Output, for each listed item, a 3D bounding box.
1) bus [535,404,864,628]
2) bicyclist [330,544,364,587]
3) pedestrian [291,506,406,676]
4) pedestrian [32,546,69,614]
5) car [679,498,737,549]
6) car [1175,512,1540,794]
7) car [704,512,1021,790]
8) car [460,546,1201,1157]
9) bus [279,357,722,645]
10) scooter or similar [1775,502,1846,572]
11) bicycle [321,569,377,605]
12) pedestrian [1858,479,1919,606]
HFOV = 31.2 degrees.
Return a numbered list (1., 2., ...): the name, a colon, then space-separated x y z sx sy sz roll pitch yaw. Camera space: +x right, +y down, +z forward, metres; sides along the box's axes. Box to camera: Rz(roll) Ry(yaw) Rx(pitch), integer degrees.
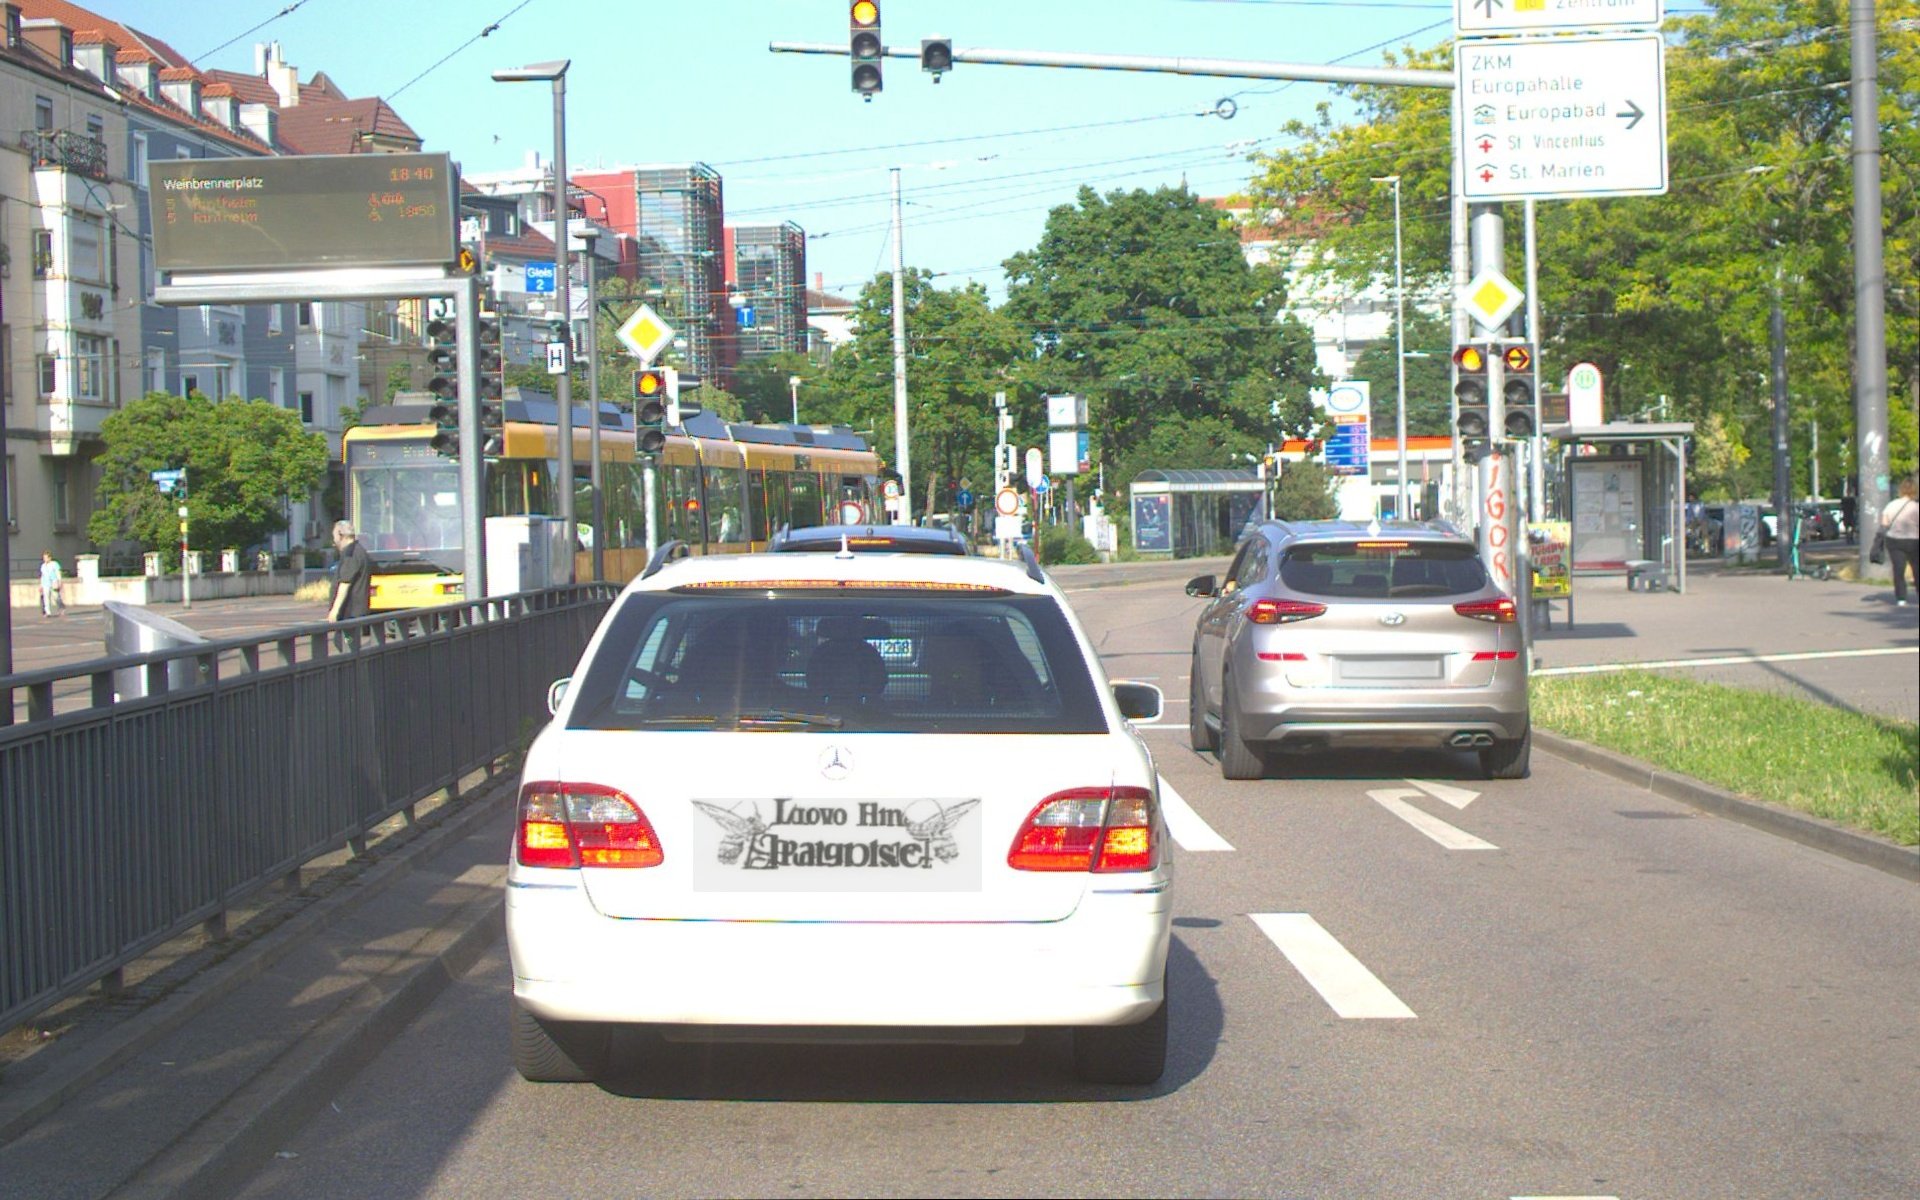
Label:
1. bus: -4.400 -1.409 61.846 3.110 3.593 12.586 1 1 9
2. bicyclist: -14.994 -0.842 84.067 0.513 1.041 0.679 -1 1 20
3. pedestrian: -6.022 -0.098 33.848 0.792 1.639 0.757 -2 1 -44
4. pedestrian: -20.800 -0.459 78.640 0.629 1.536 0.711 -1 1 -1
5. car: -10.292 -3.108 140.519 2.075 2.007 4.163 1 1 0
6. car: 2.502 0.280 22.449 1.885 1.645 3.648 -1 1 -1
7. car: -0.608 0.269 22.549 1.885 1.645 3.648 1 1 -1
8. car: -0.336 0.585 10.184 1.796 1.465 3.648 0 1 -1
9. bus: -6.233 -1.305 49.497 3.109 3.593 12.371 1 1 8
10. scooter or similar: 13.816 -1.020 55.874 0.419 1.113 1.330 -2 1 -20
11. bicycle: -14.957 -0.327 84.142 0.526 0.831 1.684 -1 1 22
12. pedestrian: 12.337 -0.756 45.006 0.752 1.631 0.808 -2 1 -40
